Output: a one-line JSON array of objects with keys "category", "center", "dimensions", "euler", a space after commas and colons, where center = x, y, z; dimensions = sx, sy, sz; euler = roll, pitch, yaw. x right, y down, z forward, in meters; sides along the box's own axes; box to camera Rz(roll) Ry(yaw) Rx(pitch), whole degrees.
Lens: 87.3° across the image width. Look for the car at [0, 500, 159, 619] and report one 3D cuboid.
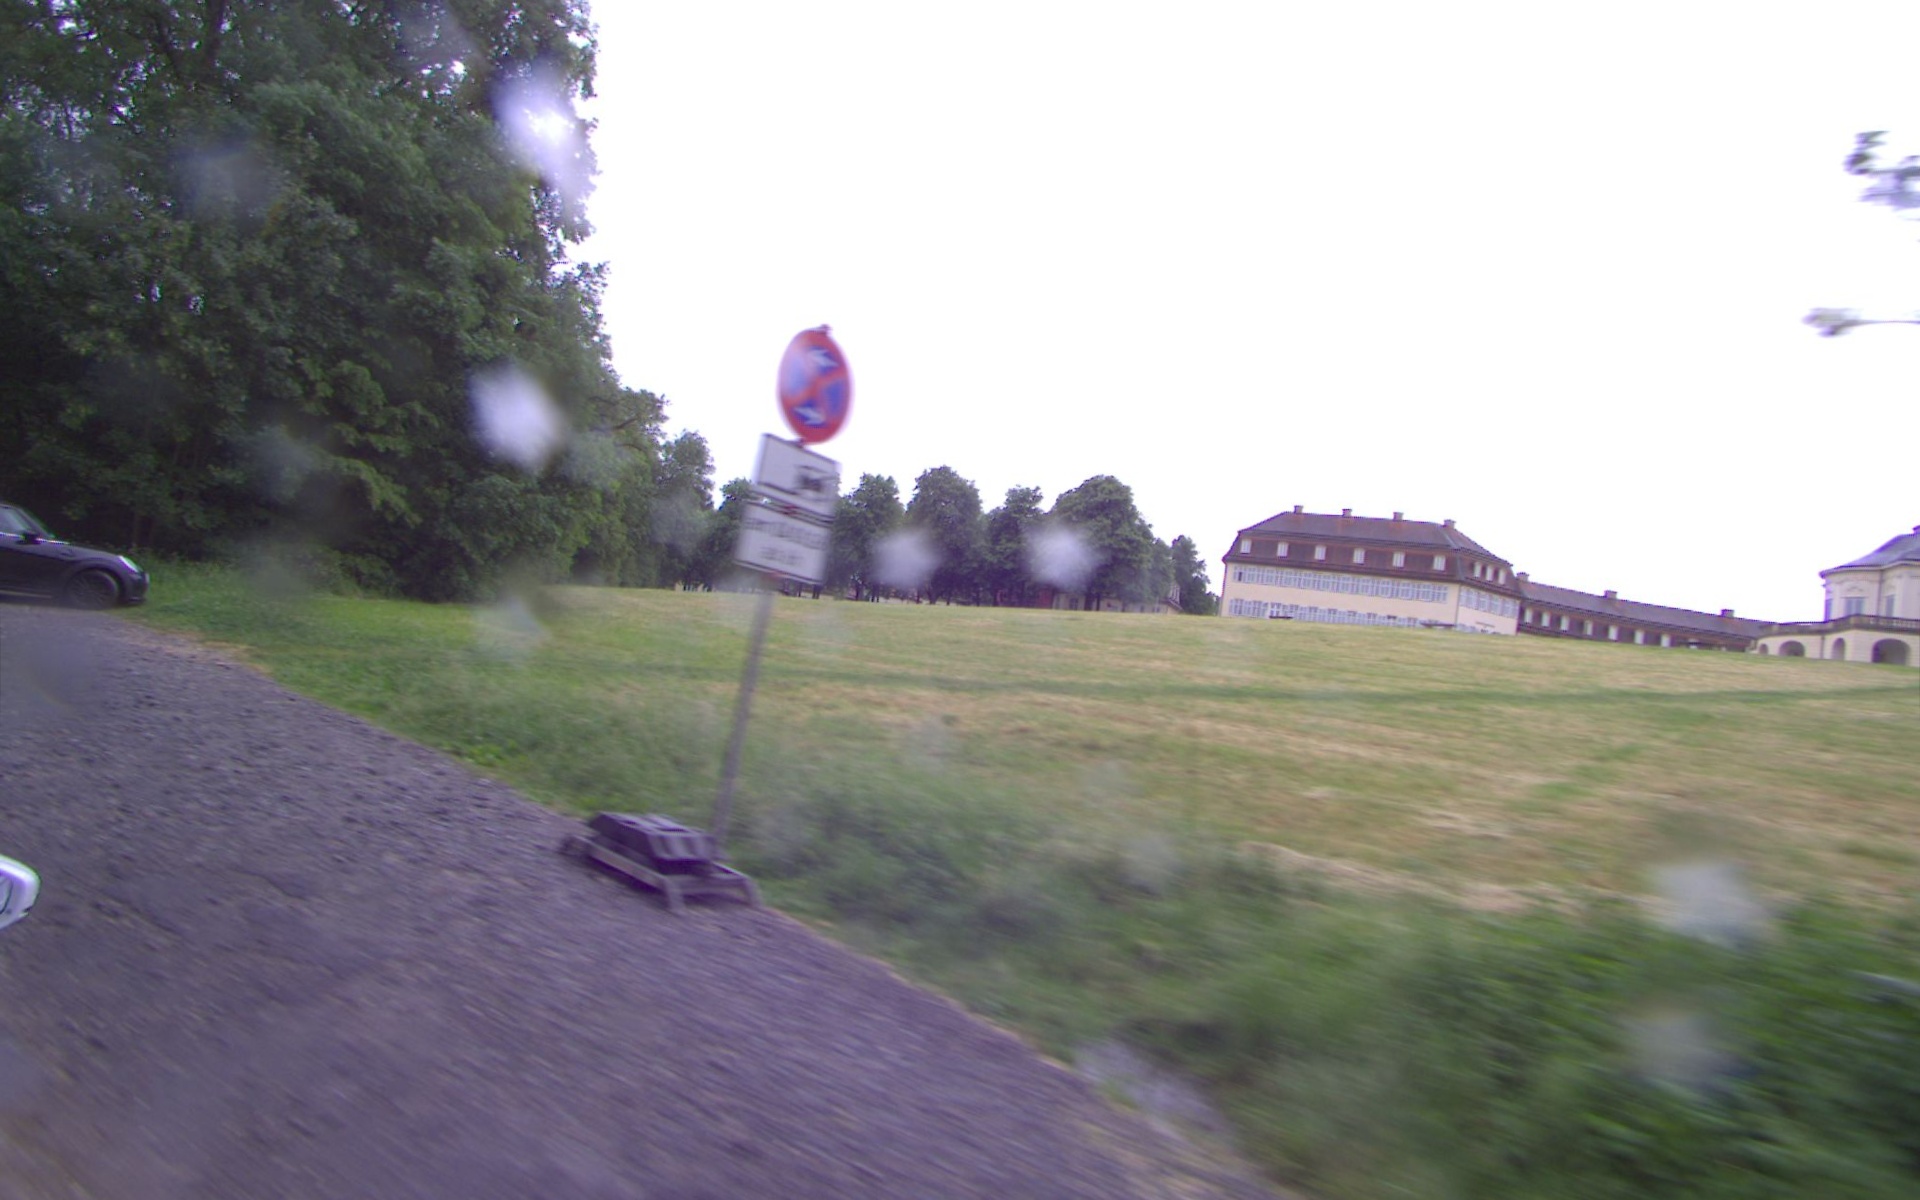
[{"category": "car", "center": [-14.250, -0.758, 14.548], "dimensions": [1.679, 1.451, 3.717], "euler": [7, -4, 33]}]
